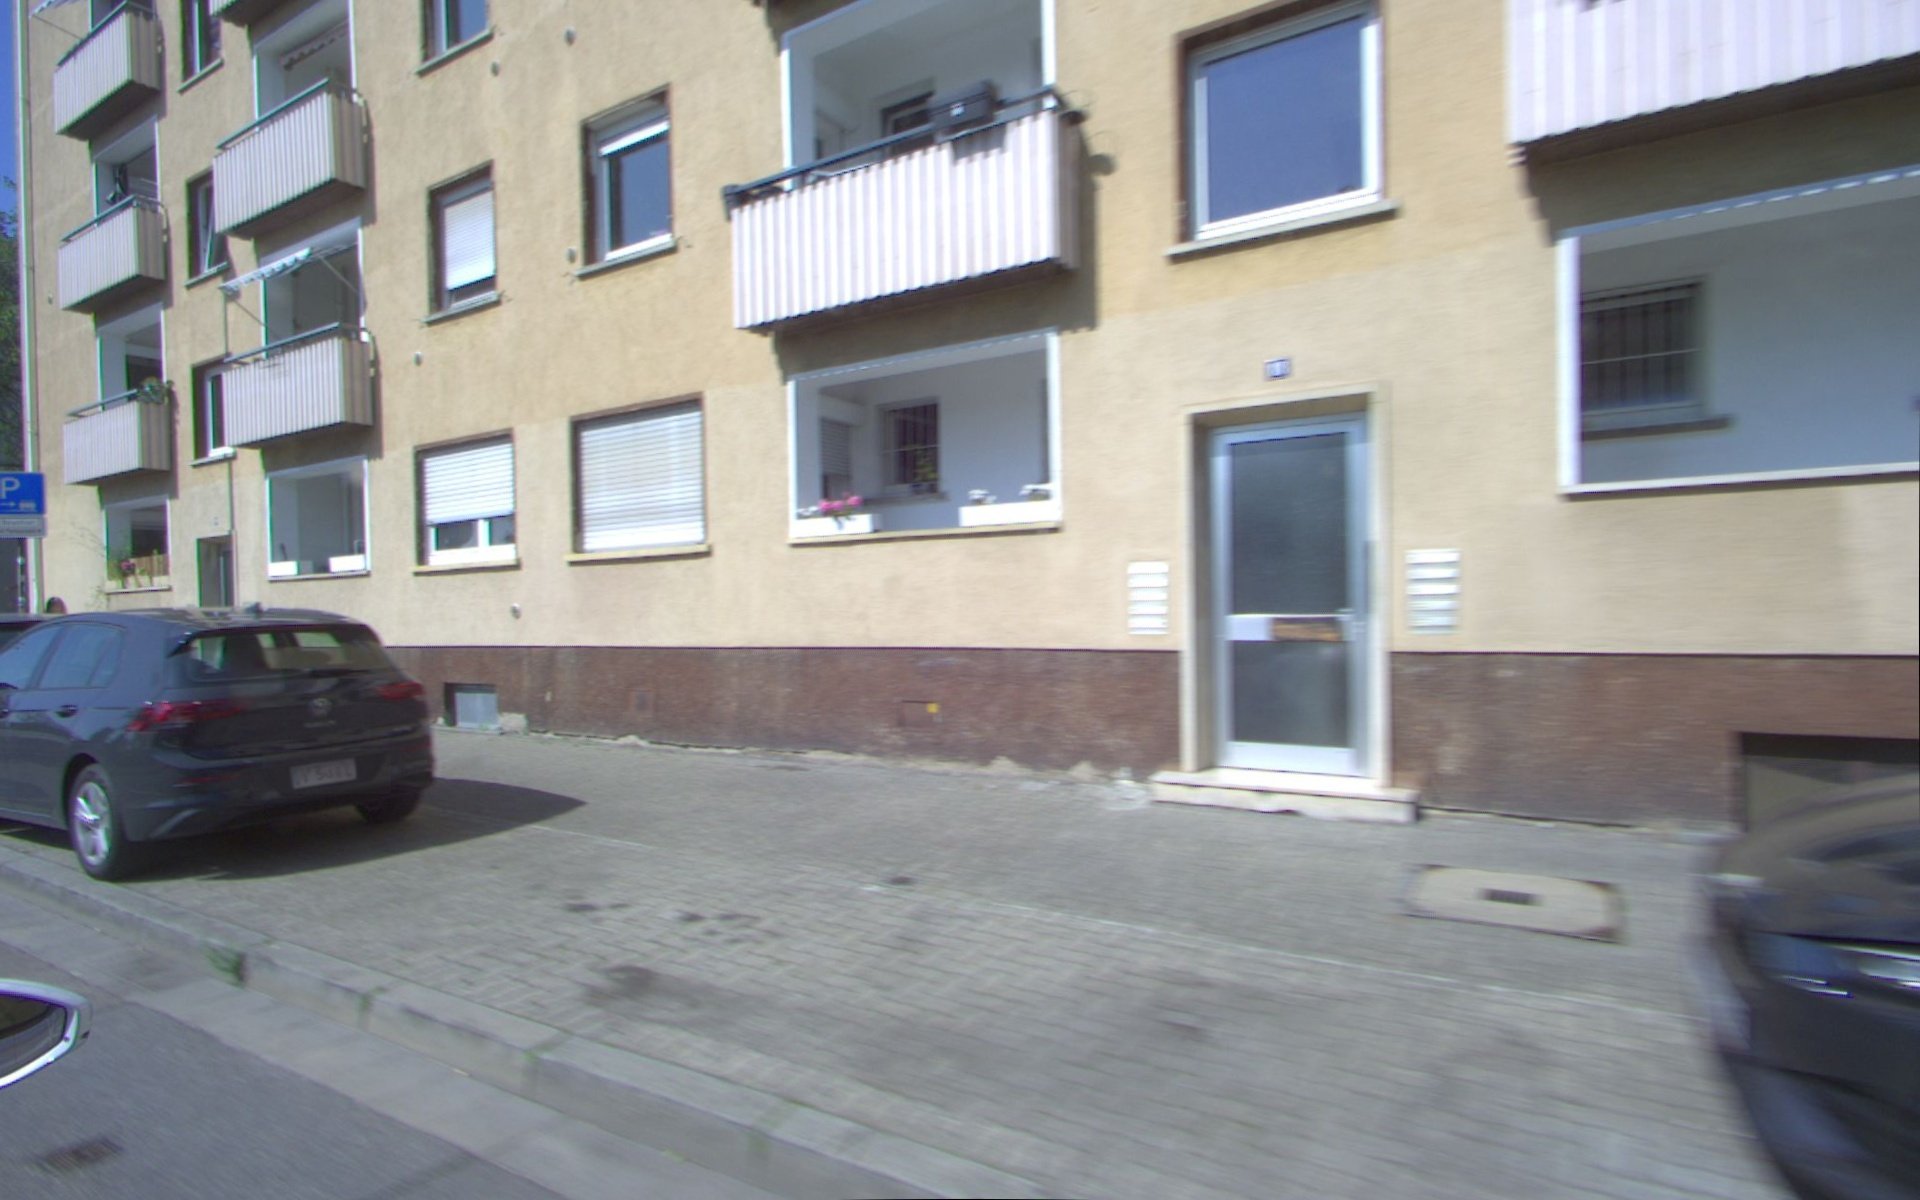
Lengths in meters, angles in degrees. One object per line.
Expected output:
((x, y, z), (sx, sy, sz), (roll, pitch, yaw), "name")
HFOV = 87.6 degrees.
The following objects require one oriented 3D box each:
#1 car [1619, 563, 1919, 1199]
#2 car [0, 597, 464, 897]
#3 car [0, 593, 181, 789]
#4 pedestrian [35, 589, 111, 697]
((3.779, 0.637, 1.484), (4.519, 1.457, 1.798), (0, 1, 29), "car")
((-5.460, 0.746, 6.785), (4.191, 1.481, 1.708), (0, 1, 30), "car")
((-9.277, 0.734, 9.305), (4.028, 1.535, 1.701), (0, 2, 28), "car")
((-13.733, 0.647, 15.509), (0.812, 1.631, 0.653), (0, 1, 33), "pedestrian")
